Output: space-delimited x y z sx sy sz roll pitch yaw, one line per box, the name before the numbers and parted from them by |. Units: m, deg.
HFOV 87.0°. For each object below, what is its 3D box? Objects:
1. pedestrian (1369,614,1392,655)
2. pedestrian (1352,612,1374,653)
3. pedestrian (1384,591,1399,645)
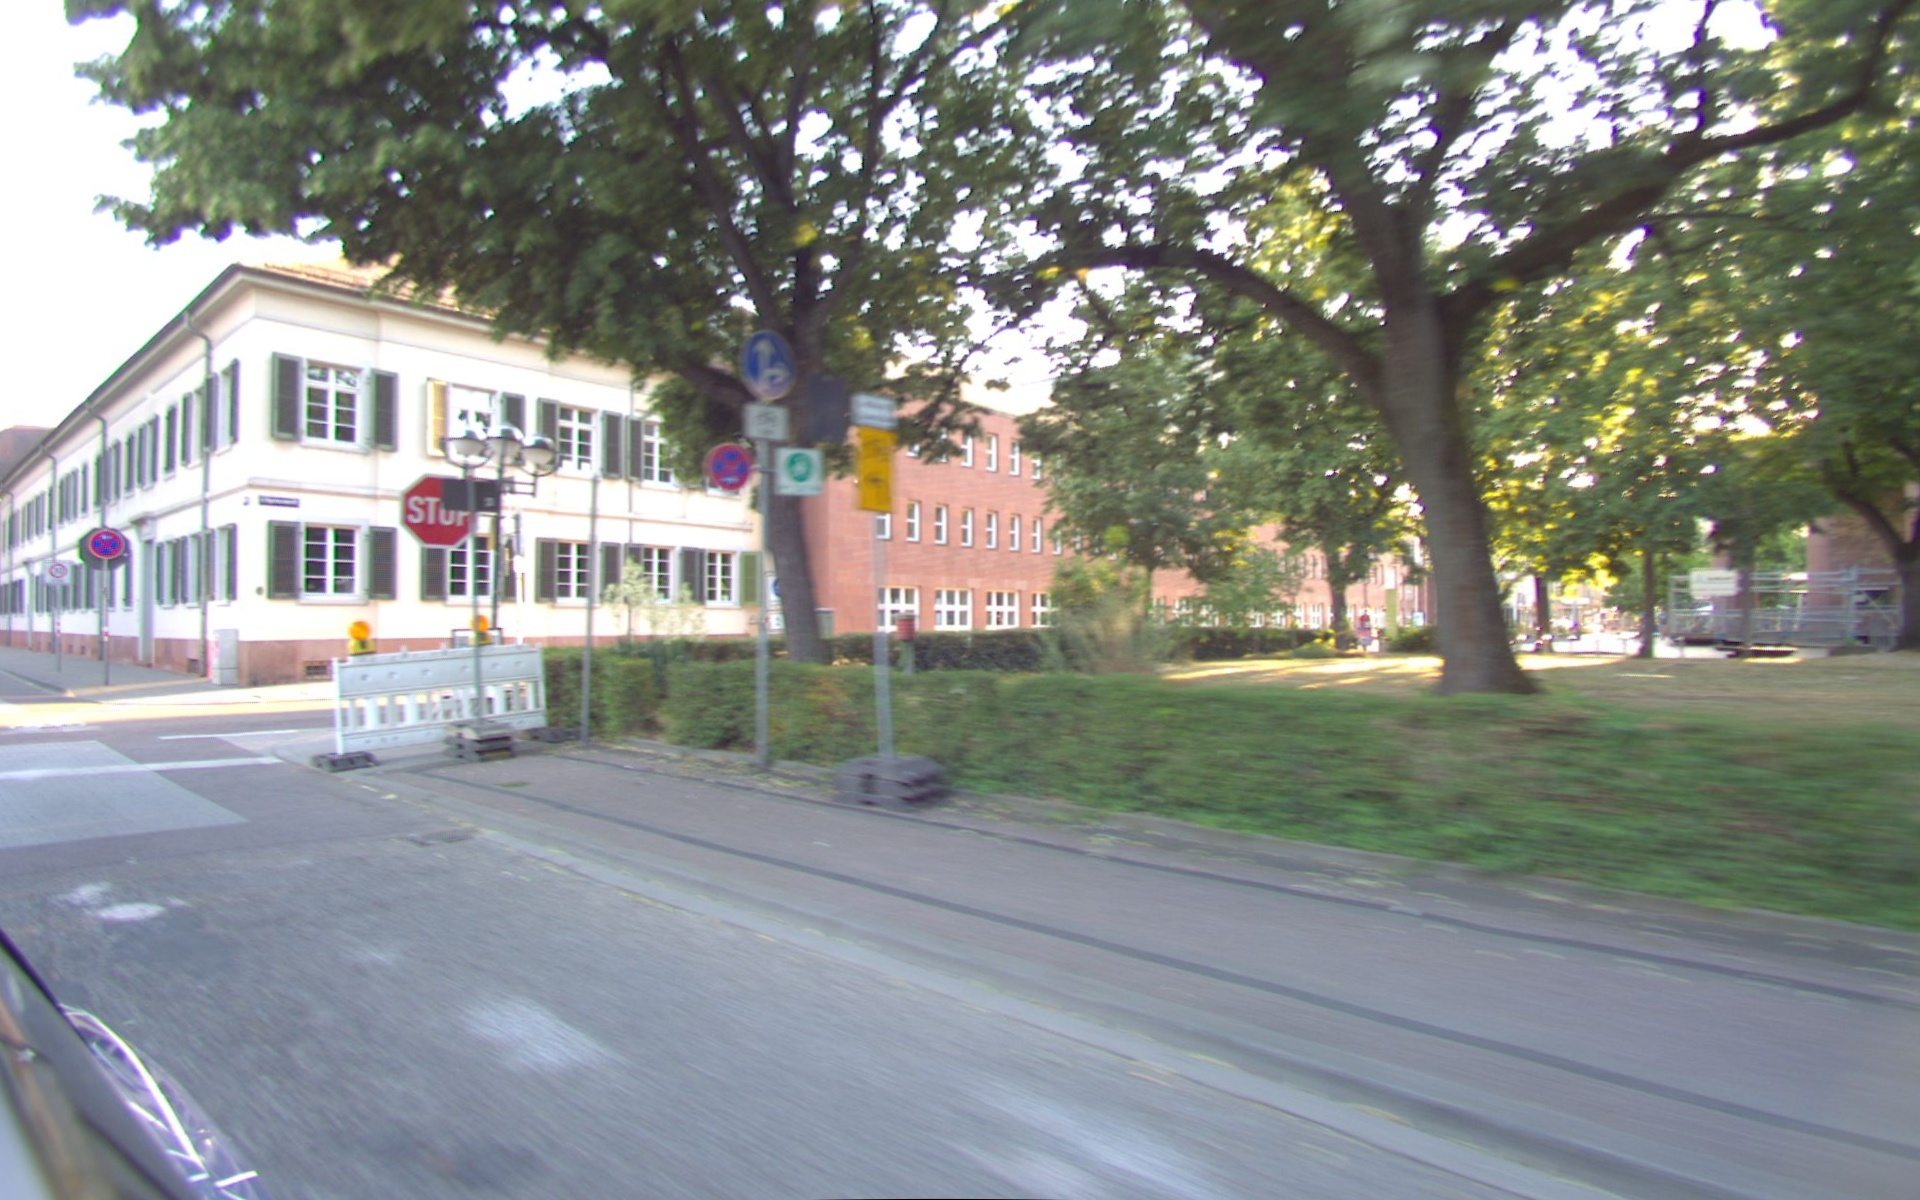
pedestrian | 17.575 1.444 42.259 0.654 1.706 0.742 -1 -3 43
pedestrian | 17.043 1.390 42.807 0.654 1.706 0.742 -1 -3 43
pedestrian | 16.305 0.695 38.252 0.459 2.029 0.404 -1 -2 30
